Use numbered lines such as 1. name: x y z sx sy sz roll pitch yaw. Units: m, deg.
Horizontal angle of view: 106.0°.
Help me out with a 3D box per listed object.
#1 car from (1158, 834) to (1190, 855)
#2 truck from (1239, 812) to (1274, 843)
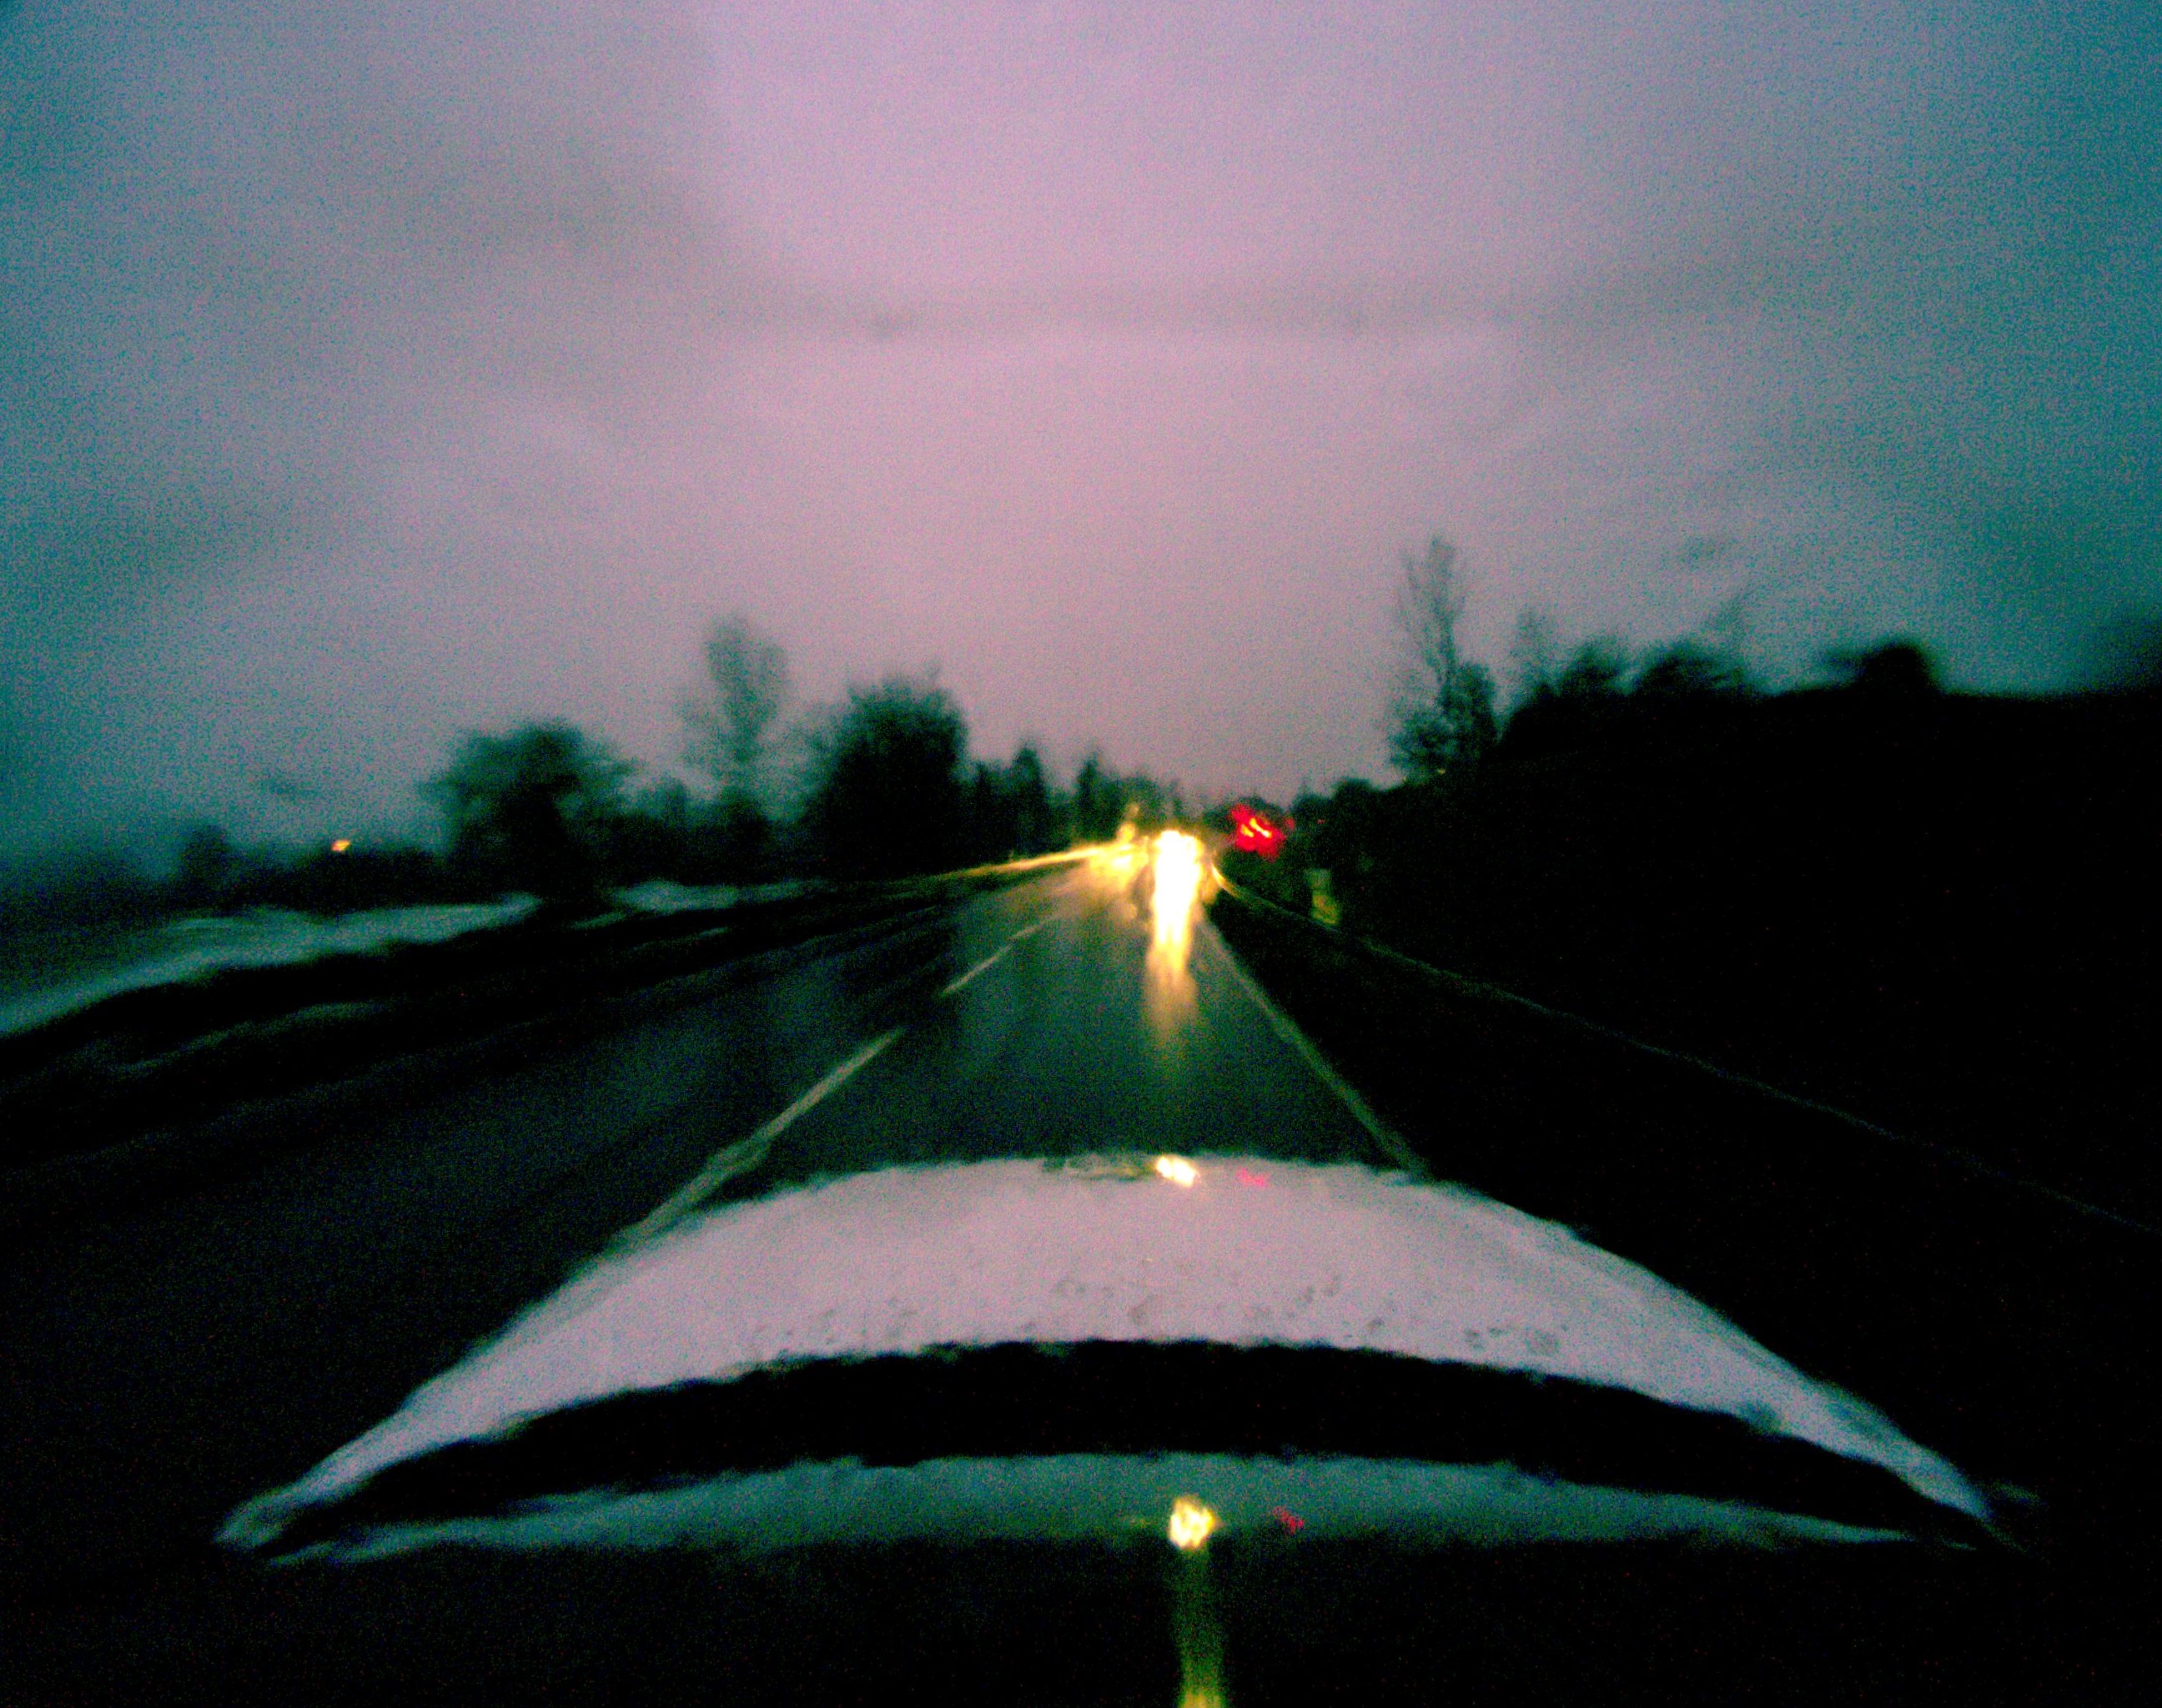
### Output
1. car: 7.699 -0.768 67.100 1.979 1.621 4.616 1 1 15
2. truck: 17.769 -2.688 82.225 2.511 2.868 5.953 -3 2 19
